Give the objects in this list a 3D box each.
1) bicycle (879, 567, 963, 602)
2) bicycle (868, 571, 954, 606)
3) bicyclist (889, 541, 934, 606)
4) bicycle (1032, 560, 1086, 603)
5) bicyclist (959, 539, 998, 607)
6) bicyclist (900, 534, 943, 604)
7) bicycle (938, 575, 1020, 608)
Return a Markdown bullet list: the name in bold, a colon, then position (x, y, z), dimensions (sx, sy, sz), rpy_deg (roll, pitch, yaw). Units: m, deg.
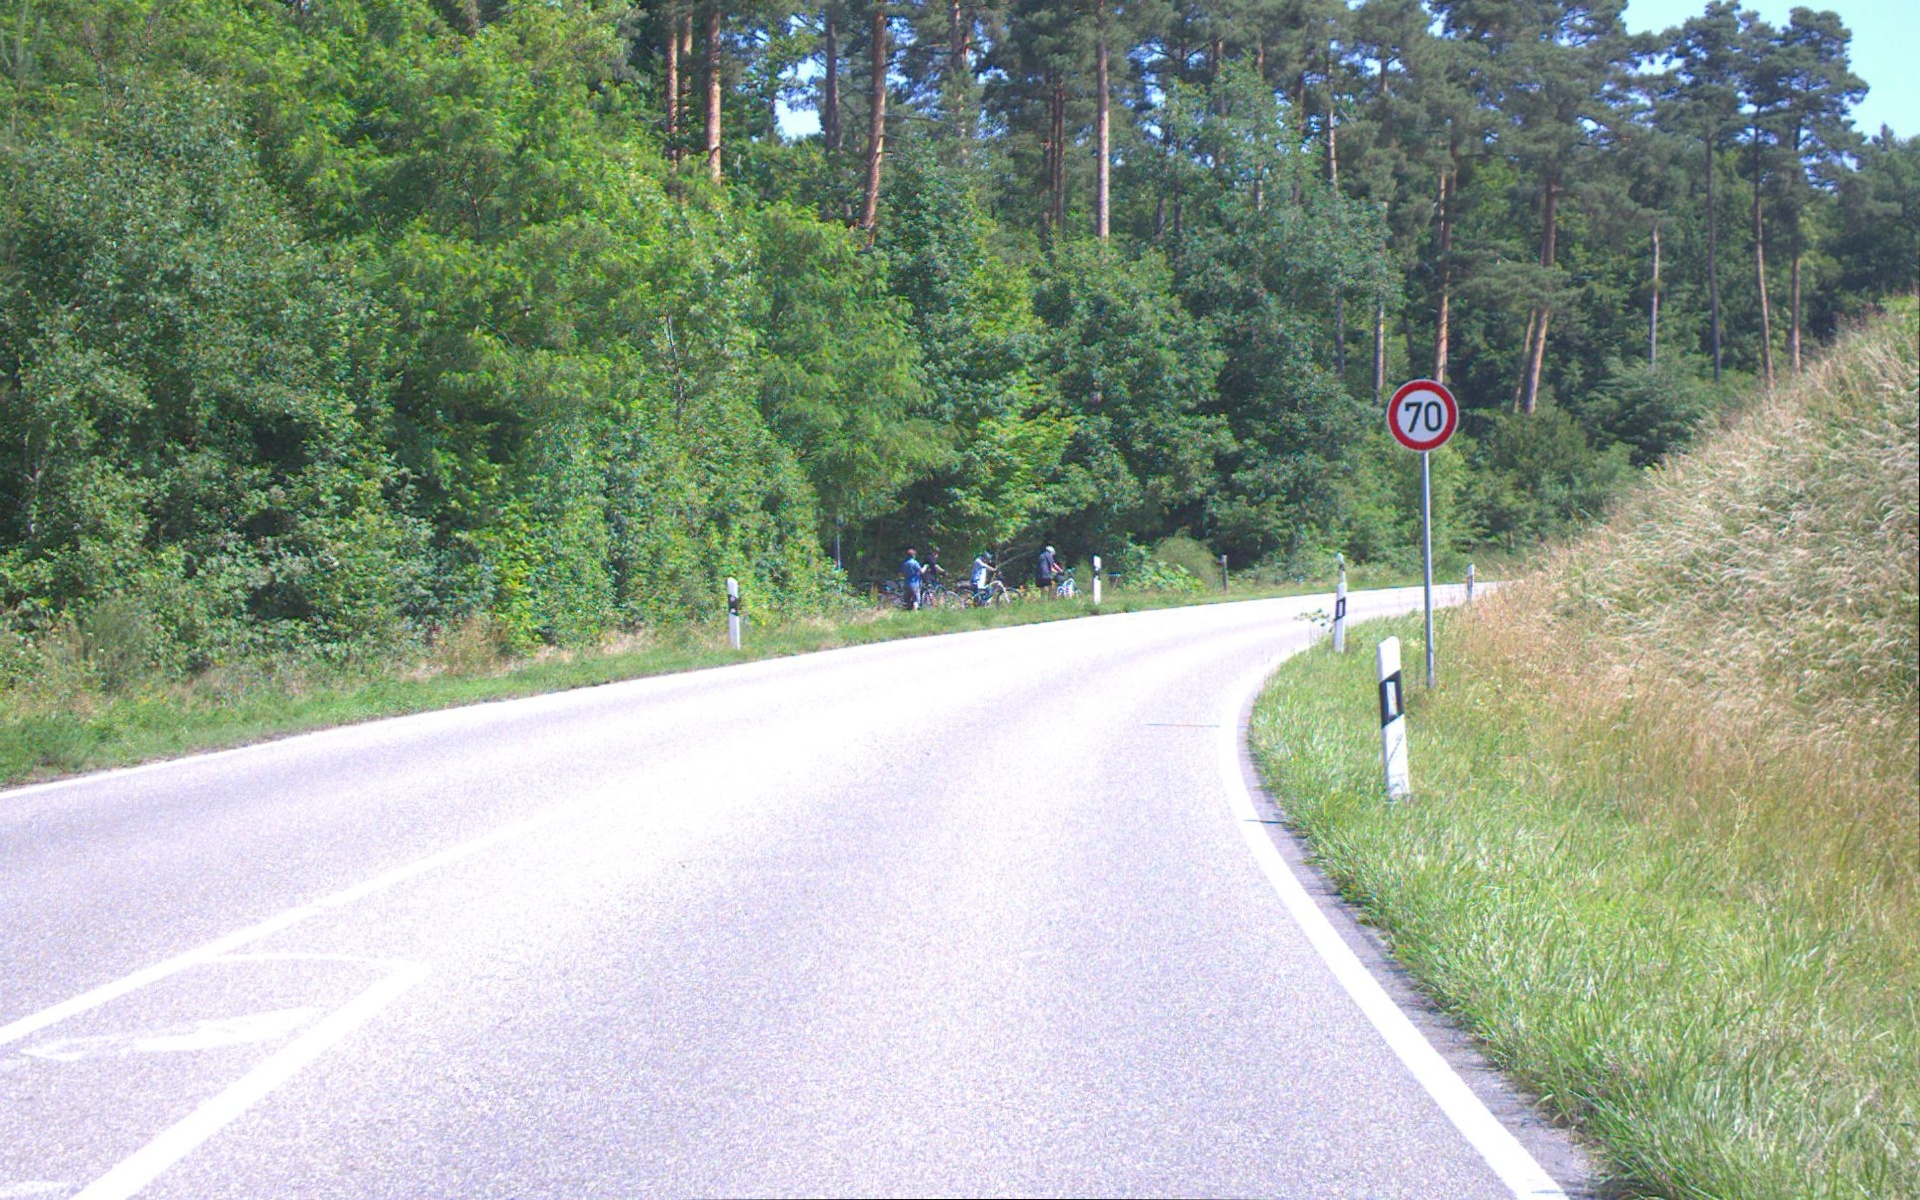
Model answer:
- **bicycle**: position (-0.940, -0.376, 83.387), dimensions (1.978, 0.827, 0.606), rpy_deg (0, 0, -28)
- **bicycle**: position (-1.171, -0.269, 82.427), dimensions (1.978, 0.827, 0.606), rpy_deg (0, 0, -28)
- **bicyclist**: position (-1.167, -0.628, 82.434), dimensions (0.868, 1.540, 0.606), rpy_deg (0, 0, -28)
- **bicycle**: position (2.633, -0.498, 91.524), dimensions (1.443, 1.082, 0.582), rpy_deg (-3, 4, -43)
- **bicyclist**: position (0.463, -0.676, 87.143), dimensions (0.786, 1.713, 0.606), rpy_deg (1, 0, -22)
- **bicyclist**: position (-0.937, -0.745, 83.387), dimensions (0.847, 1.695, 0.606), rpy_deg (0, 0, -28)
- **bicycle**: position (0.478, -0.221, 87.160), dimensions (1.978, 0.827, 0.606), rpy_deg (0, 0, -22)
